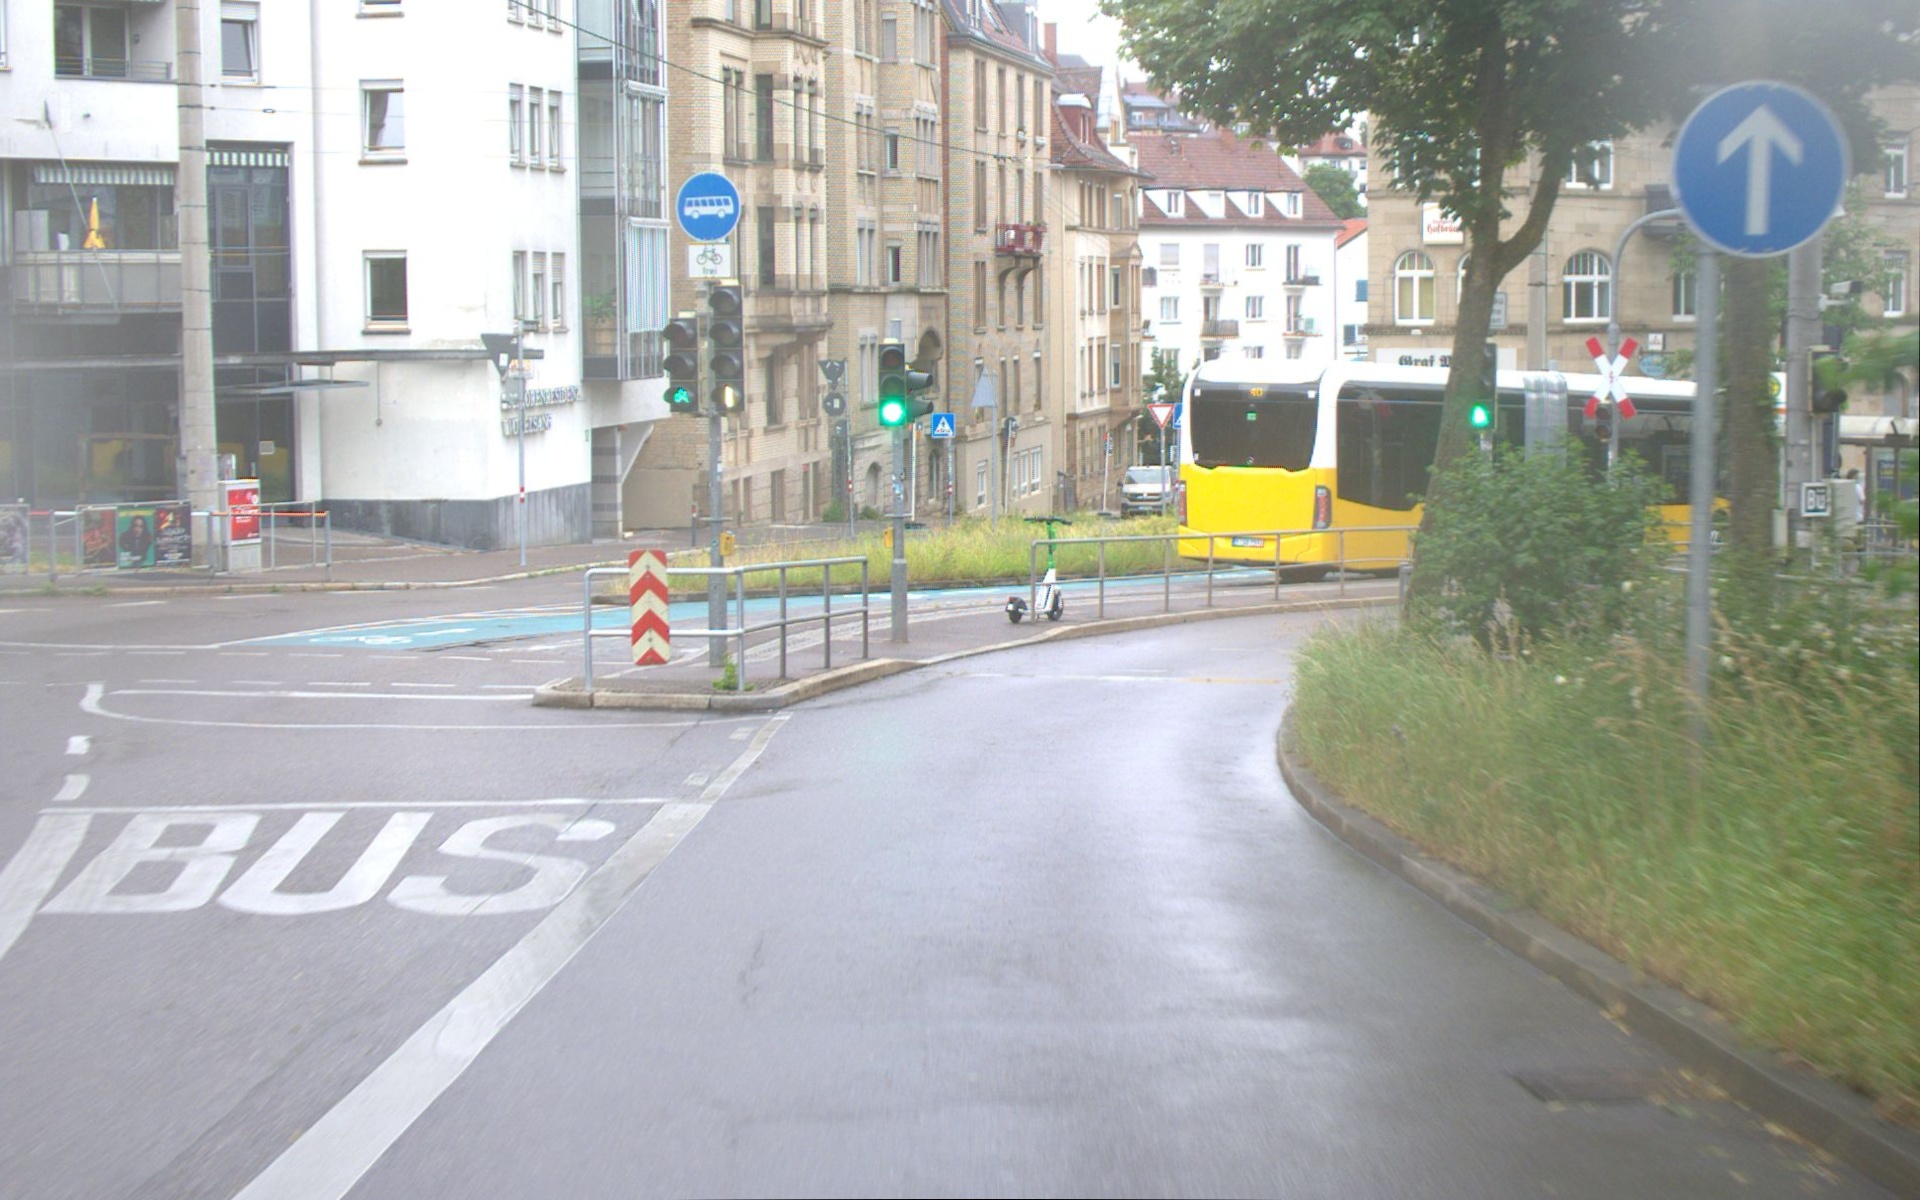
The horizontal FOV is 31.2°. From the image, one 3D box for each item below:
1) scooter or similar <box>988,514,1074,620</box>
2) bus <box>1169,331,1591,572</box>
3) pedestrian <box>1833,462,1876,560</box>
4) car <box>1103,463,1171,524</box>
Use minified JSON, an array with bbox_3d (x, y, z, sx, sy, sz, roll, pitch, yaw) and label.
[{"bbox_3d":[0.786,-0.374,37.590,0.434,1.109,1.604,3,3,18],"label":"scooter or similar"},{"bbox_3d":[6.762,-2.236,53.857,2.596,3.457,9.090,2,2,34],"label":"bus"},{"bbox_3d":[16.096,-1.597,61.864,0.577,1.746,0.542,2,2,32],"label":"pedestrian"},{"bbox_3d":[6.486,-3.925,126.616,2.137,2.129,4.858,2,2,-1],"label":"car"}]
